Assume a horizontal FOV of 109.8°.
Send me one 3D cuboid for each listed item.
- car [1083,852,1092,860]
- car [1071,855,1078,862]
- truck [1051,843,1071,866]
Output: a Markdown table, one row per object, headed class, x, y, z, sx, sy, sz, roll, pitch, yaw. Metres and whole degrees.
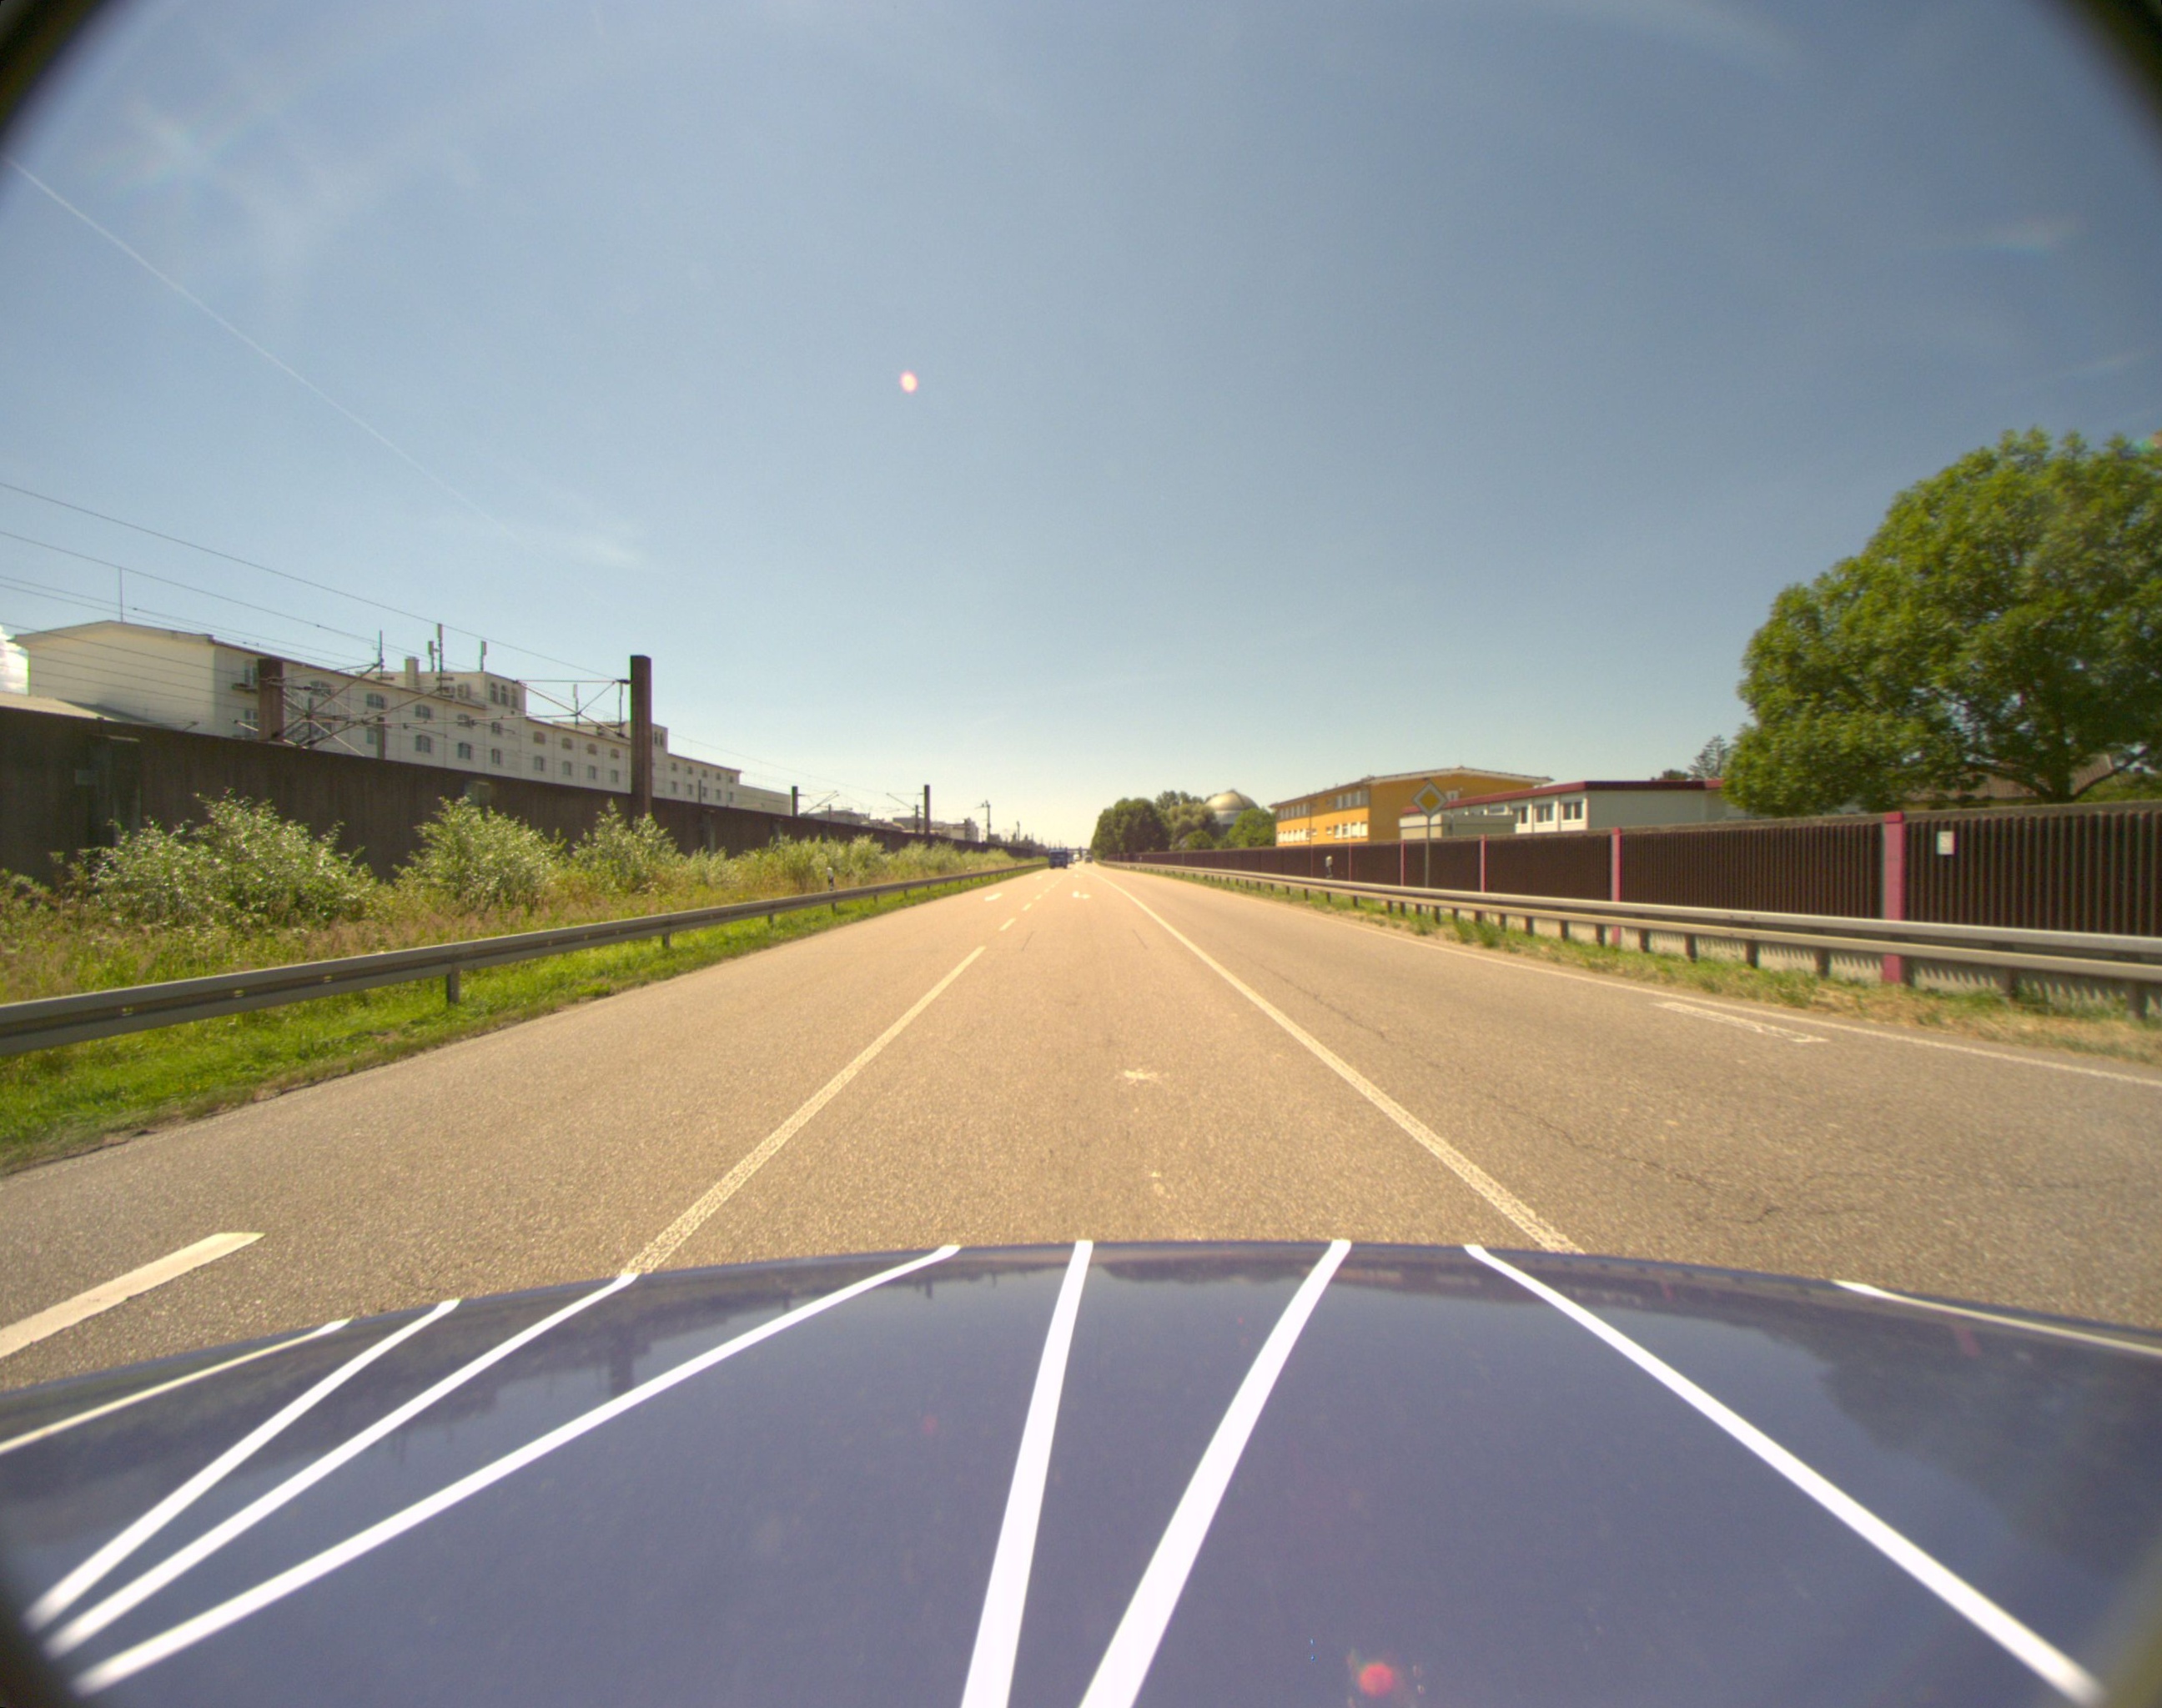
| class | x | y | z | sx | sy | sz | roll | pitch | yaw |
| --- | --- | --- | --- | --- | --- | --- | --- | --- | --- |
| car | 1.602 | 0.432 | 176.476 | 1.892 | 1.730 | 4.775 | -2 | 0 | -2 |
| car | -1.482 | 1.025 | 173.520 | 1.730 | 1.464 | 3.889 | -1 | 0 | -1 |
| truck | -2.737 | 0.017 | 108.059 | 2.617 | 3.024 | 10.654 | -1 | 0 | 0 |
